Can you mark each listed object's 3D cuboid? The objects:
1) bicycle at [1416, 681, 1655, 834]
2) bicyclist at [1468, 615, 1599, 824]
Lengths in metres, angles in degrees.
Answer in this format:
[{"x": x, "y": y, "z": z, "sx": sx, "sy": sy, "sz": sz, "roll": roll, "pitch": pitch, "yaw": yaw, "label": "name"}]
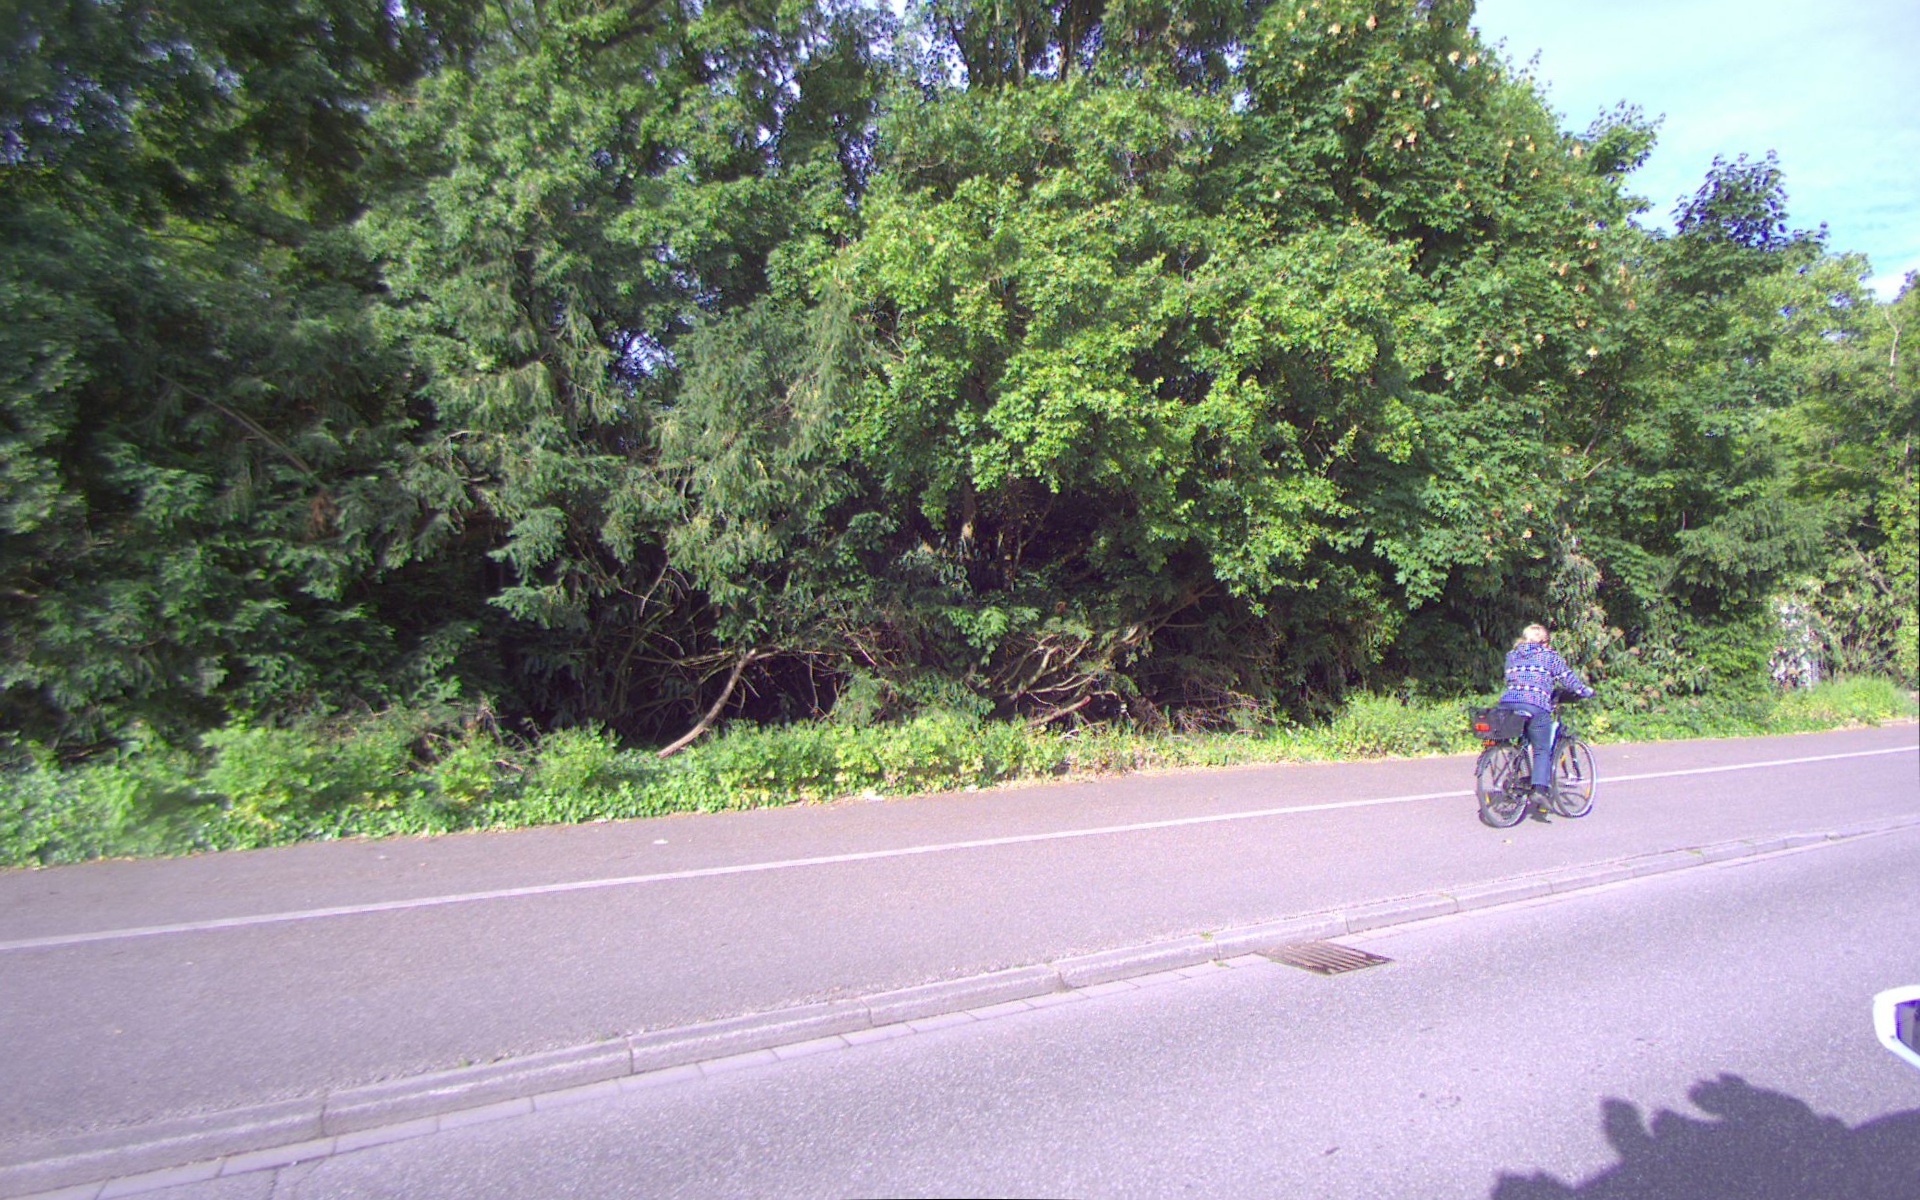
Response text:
[{"x": 5.008, "y": 1.300, "z": 8.691, "sx": 2.319, "sy": 1.112, "sz": 0.660, "roll": 2, "pitch": 0, "yaw": -28, "label": "bicycle"}, {"x": 4.948, "y": 0.990, "z": 8.669, "sx": 0.873, "sy": 1.699, "sz": 0.606, "roll": 1, "pitch": -1, "yaw": -28, "label": "bicyclist"}]
